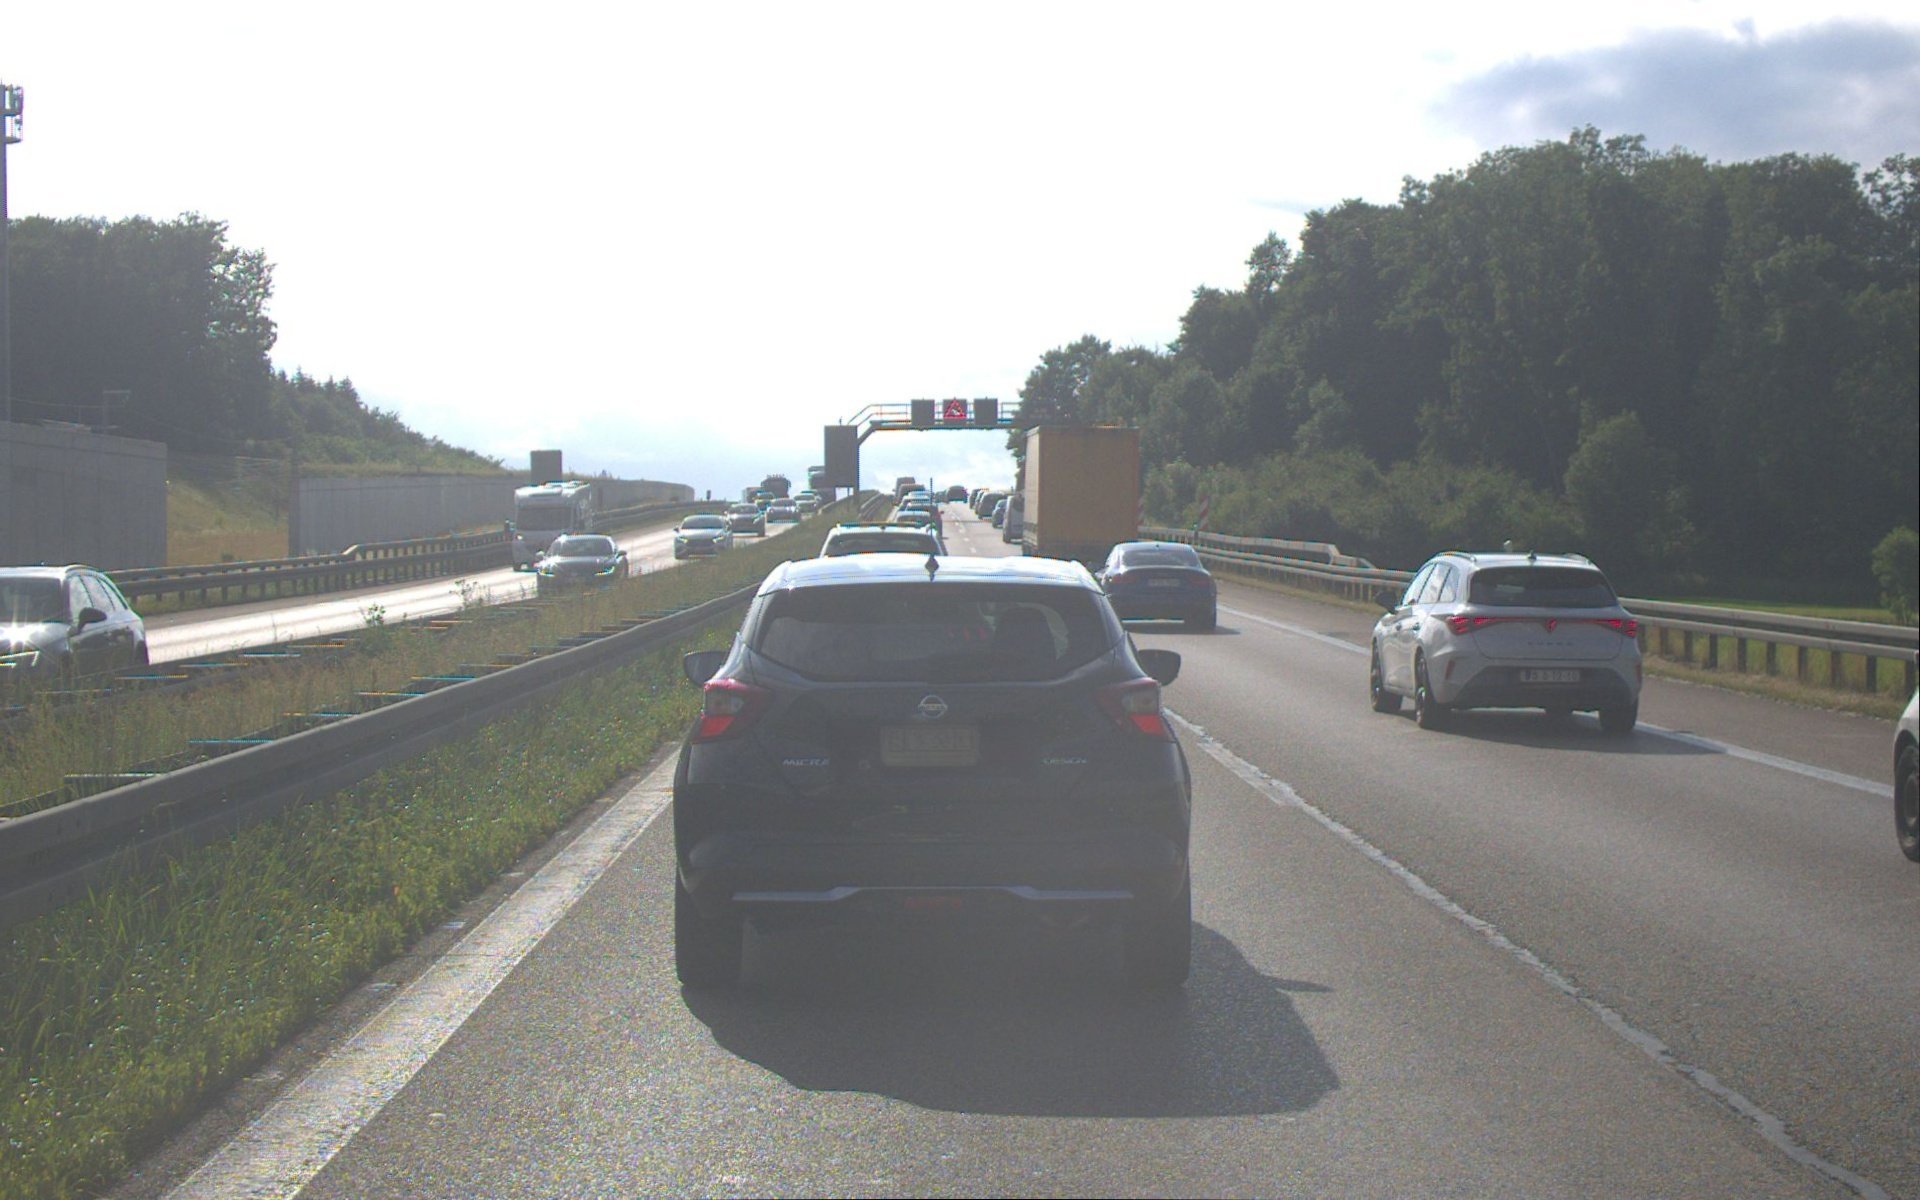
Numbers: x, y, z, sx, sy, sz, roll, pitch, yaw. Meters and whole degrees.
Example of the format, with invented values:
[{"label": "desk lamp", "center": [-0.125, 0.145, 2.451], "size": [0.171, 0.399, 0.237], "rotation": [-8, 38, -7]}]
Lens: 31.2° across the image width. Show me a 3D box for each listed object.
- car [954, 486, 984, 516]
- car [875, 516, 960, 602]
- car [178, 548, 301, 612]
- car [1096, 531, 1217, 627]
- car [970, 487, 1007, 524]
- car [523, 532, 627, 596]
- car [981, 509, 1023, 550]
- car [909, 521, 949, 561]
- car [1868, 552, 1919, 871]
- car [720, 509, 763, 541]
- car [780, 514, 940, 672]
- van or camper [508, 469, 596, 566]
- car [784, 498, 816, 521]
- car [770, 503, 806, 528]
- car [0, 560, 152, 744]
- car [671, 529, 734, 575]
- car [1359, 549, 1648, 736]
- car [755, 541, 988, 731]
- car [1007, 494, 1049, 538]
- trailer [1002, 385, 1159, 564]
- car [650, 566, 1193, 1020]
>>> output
[{"label": "car", "center": [0.643, -6.920, 241.017], "size": [1.993, 2.007, 4.000], "rotation": [1, 0, -1]}, {"label": "car", "center": [-1.058, -0.995, 83.565], "size": [1.993, 2.007, 4.000], "rotation": [1, 0, -1]}, {"label": "car", "center": [-16.641, -0.465, 79.572], "size": [1.993, 1.428, 4.449], "rotation": [1, 0, -1]}, {"label": "car", "center": [3.136, -0.337, 55.618], "size": [1.747, 1.470, 4.147], "rotation": [1, 0, 1]}, {"label": "car", "center": [1.636, -5.422, 196.638], "size": [1.993, 2.007, 4.000], "rotation": [1, 0, -1]}, {"label": "car", "center": [-8.911, -0.825, 79.966], "size": [1.993, 1.428, 4.449], "rotation": [1, 0, -1]}, {"label": "car", "center": [2.139, -3.565, 174.984], "size": [1.993, 2.007, 4.000], "rotation": [1, 0, -1]}, {"label": "car", "center": [-1.360, -2.616, 153.143], "size": [1.667, 1.749, 3.327], "rotation": [1, 0, 1]}, {"label": "car", "center": [5.310, 0.555, 15.259], "size": [1.548, 1.490, 3.378], "rotation": [1, 1, -2]}, {"label": "car", "center": [-10.308, -3.553, 162.501], "size": [1.853, 1.428, 4.449], "rotation": [0, 0, -1]}, {"label": "car", "center": [-1.110, -0.088, 39.521], "size": [1.674, 1.720, 3.596], "rotation": [1, 0, 1]}, {"label": "van or camper", "center": [-13.535, -2.695, 114.352], "size": [2.225, 3.068, 6.513], "rotation": [1, 0, -1]}, {"label": "car", "center": [-10.847, -6.122, 233.312], "size": [1.993, 1.428, 4.449], "rotation": [1, 0, -1]}, {"label": "car", "center": [-10.184, -5.004, 204.082], "size": [1.993, 1.428, 4.449], "rotation": [1, 0, -1]}, {"label": "car", "center": [-8.337, 0.391, 29.421], "size": [1.902, 1.459, 4.184], "rotation": [1, 0, -1]}, {"label": "car", "center": [-9.212, -1.711, 123.170], "size": [1.993, 1.587, 4.449], "rotation": [1, 0, -1]}, {"label": "car", "center": [4.472, 0.320, 28.825], "size": [1.620, 1.441, 4.147], "rotation": [1, 0, -2]}, {"label": "car", "center": [-0.627, 0.255, 26.809], "size": [1.674, 1.362, 3.596], "rotation": [1, 0, 1]}, {"label": "car", "center": [2.816, -3.463, 142.225], "size": [1.667, 1.749, 3.327], "rotation": [1, 0, 1]}, {"label": "trailer", "center": [3.126, -3.231, 93.013], "size": [3.548, 4.442, 12.723], "rotation": [1, 0, -1]}, {"label": "car", "center": [-0.091, 0.603, 12.617], "size": [1.710, 1.421, 3.378], "rotation": [1, 0, 1]}]
